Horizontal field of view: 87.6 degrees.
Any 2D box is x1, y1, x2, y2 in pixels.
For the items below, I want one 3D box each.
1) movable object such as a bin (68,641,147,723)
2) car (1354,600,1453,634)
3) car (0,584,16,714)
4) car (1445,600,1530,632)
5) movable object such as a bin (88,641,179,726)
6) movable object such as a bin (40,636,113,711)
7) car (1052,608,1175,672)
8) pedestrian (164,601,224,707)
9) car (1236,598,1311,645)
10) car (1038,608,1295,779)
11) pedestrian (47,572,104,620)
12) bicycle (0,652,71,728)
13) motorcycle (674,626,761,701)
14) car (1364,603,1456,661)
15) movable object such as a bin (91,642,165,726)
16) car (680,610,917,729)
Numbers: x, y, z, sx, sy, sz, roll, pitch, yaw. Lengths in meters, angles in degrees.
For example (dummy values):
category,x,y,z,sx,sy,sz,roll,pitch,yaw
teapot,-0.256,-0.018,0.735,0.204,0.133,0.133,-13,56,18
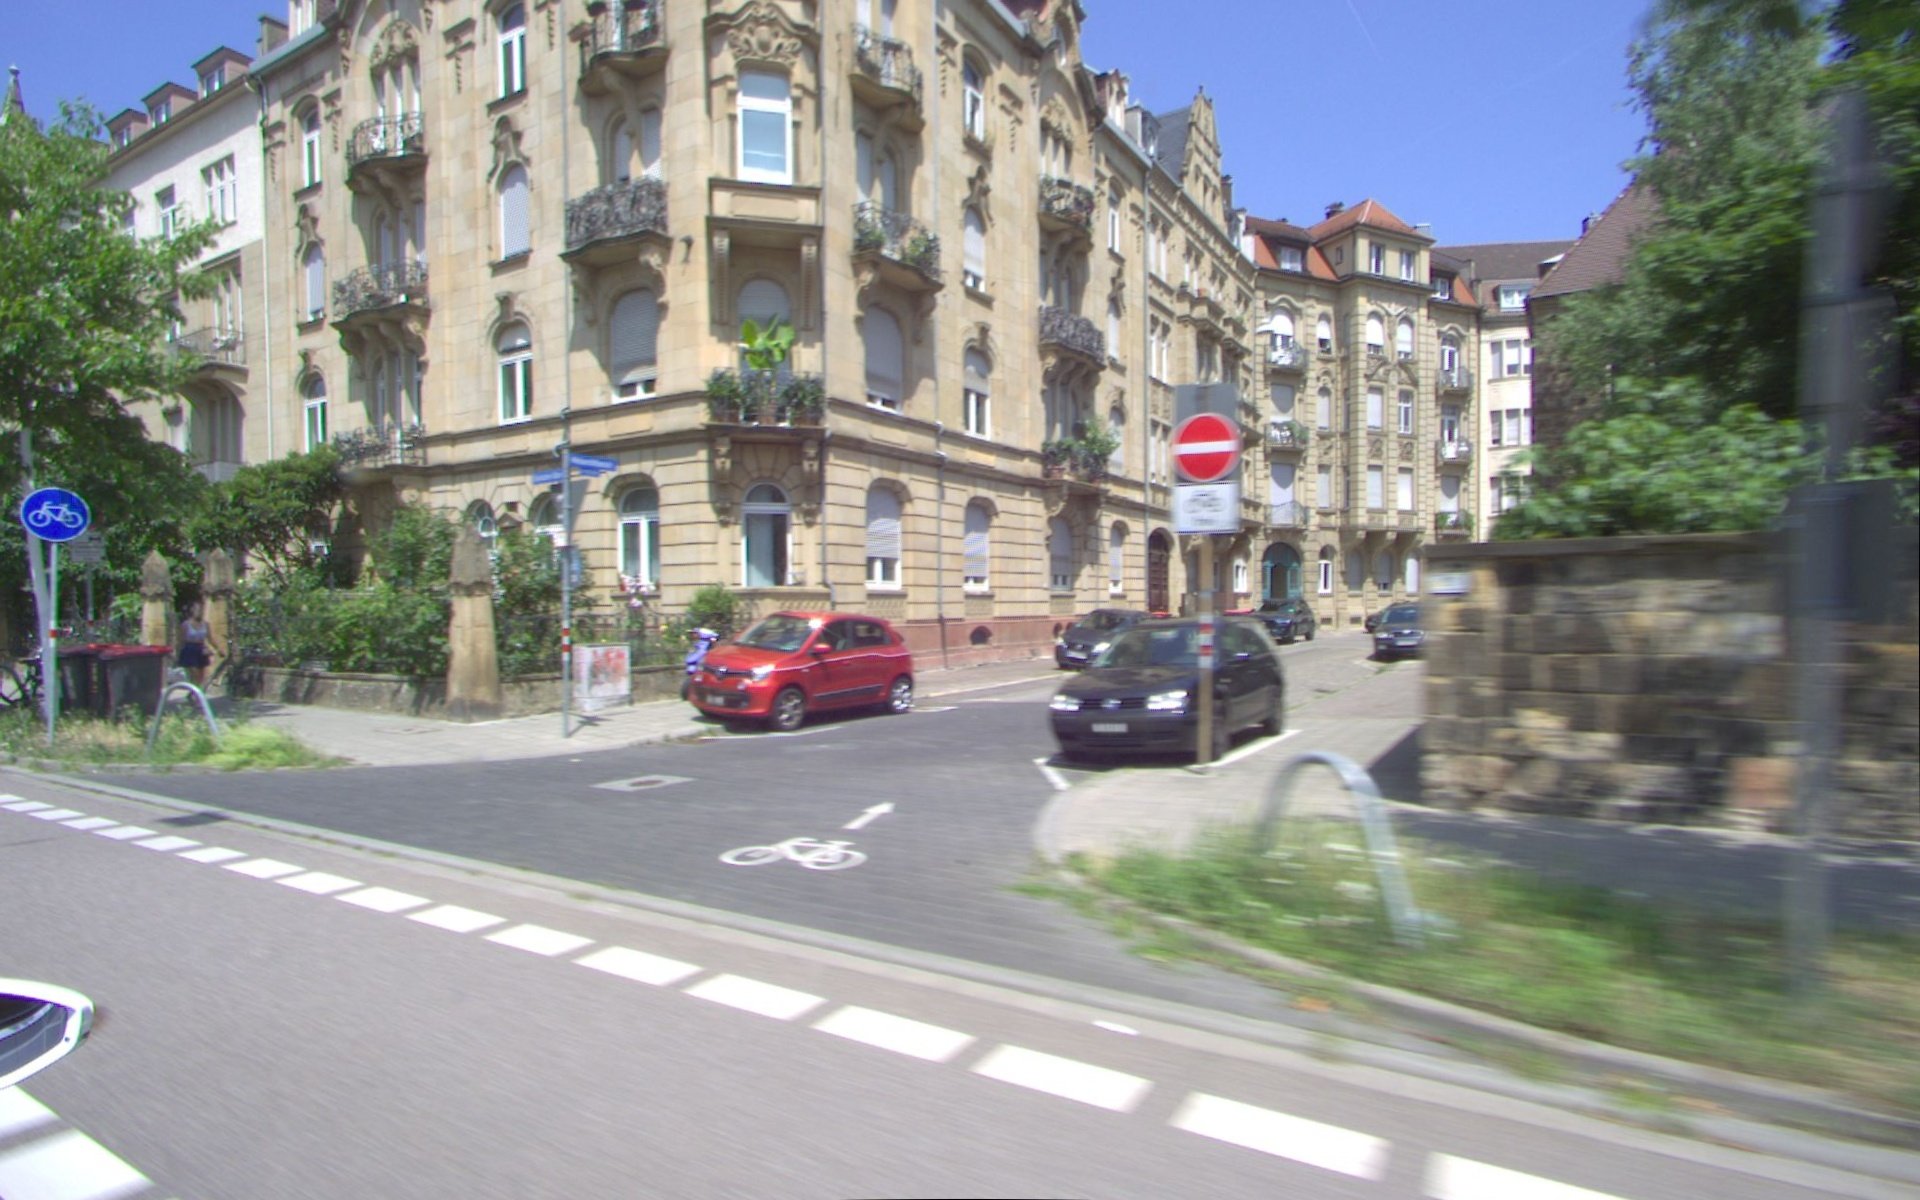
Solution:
category,x,y,z,sx,sy,sz,roll,pitch,yaw
movable object such as a bin,-11.725,1.110,13.776,0.490,1.076,0.743,0,0,38
car,20.887,0.780,47.145,4.259,1.491,1.993,0,0,-25
car,-17.001,0.778,15.821,4.767,1.974,1.874,0,1,32
car,25.959,0.789,49.280,3.936,1.499,1.614,0,0,-24
movable object such as a bin,-10.705,1.062,12.976,0.642,1.027,0.784,0,0,38
movable object such as a bin,-12.569,1.029,14.247,0.556,1.024,0.596,0,0,22
car,3.859,0.924,24.637,1.522,1.405,3.978,0,0,32
pedestrian,-12.068,0.838,15.771,0.718,1.619,0.550,0,0,34
car,11.937,0.798,38.029,1.970,1.626,3.925,-2,-1,28
car,2.514,0.878,11.320,1.648,1.511,4.175,-1,0,29
pedestrian,-20.689,-0.081,23.419,0.751,1.084,0.863,0,0,36
bicycle,-13.439,1.254,13.705,0.462,1.004,1.882,0,0,22
motorcycle,-4.055,1.038,16.809,0.462,1.179,1.500,0,0,34
car,12.459,0.846,27.597,1.757,1.390,3.980,-4,-2,31
movable object such as a bin,-11.195,1.111,13.478,0.490,1.076,0.667,0,0,38
car,-2.261,0.924,14.756,1.533,1.511,3.443,0,0,34
